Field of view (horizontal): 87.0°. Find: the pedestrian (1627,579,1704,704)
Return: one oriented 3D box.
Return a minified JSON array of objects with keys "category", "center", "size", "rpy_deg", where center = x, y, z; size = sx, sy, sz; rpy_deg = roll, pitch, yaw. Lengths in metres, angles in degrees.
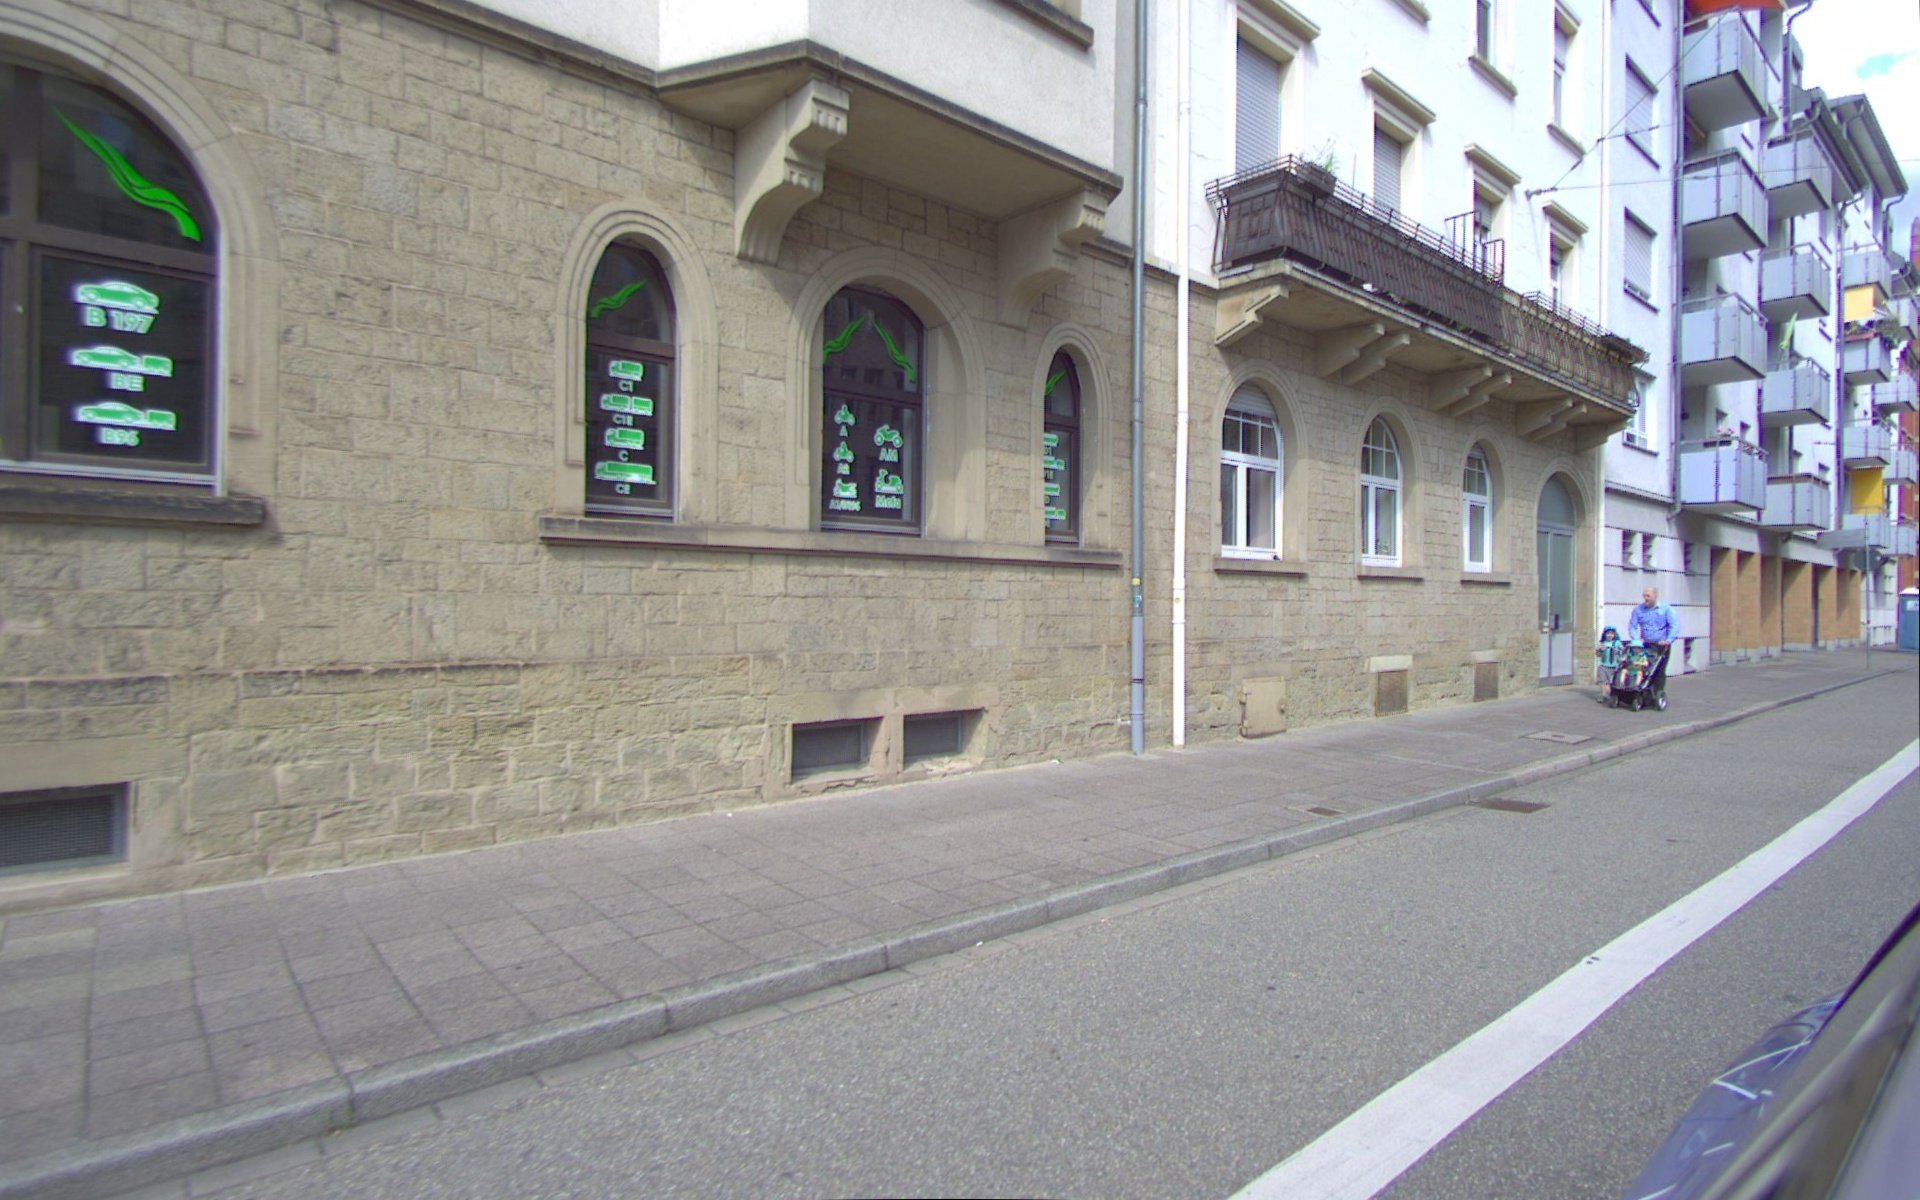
[{"category":"pedestrian","center":[10.461,0.600,15.010],"size":[0.861,1.759,0.622],"rpy_deg":[1,3,-40]}]

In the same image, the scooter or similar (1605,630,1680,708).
[{"category":"scooter or similar","center":[9.748,0.965,14.450],"size":[0.889,1.014,0.594],"rpy_deg":[1,4,-40]}]

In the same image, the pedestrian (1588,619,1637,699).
[{"category":"pedestrian","center":[9.769,0.870,15.161],"size":[0.485,1.149,0.457],"rpy_deg":[1,2,-40]}]
